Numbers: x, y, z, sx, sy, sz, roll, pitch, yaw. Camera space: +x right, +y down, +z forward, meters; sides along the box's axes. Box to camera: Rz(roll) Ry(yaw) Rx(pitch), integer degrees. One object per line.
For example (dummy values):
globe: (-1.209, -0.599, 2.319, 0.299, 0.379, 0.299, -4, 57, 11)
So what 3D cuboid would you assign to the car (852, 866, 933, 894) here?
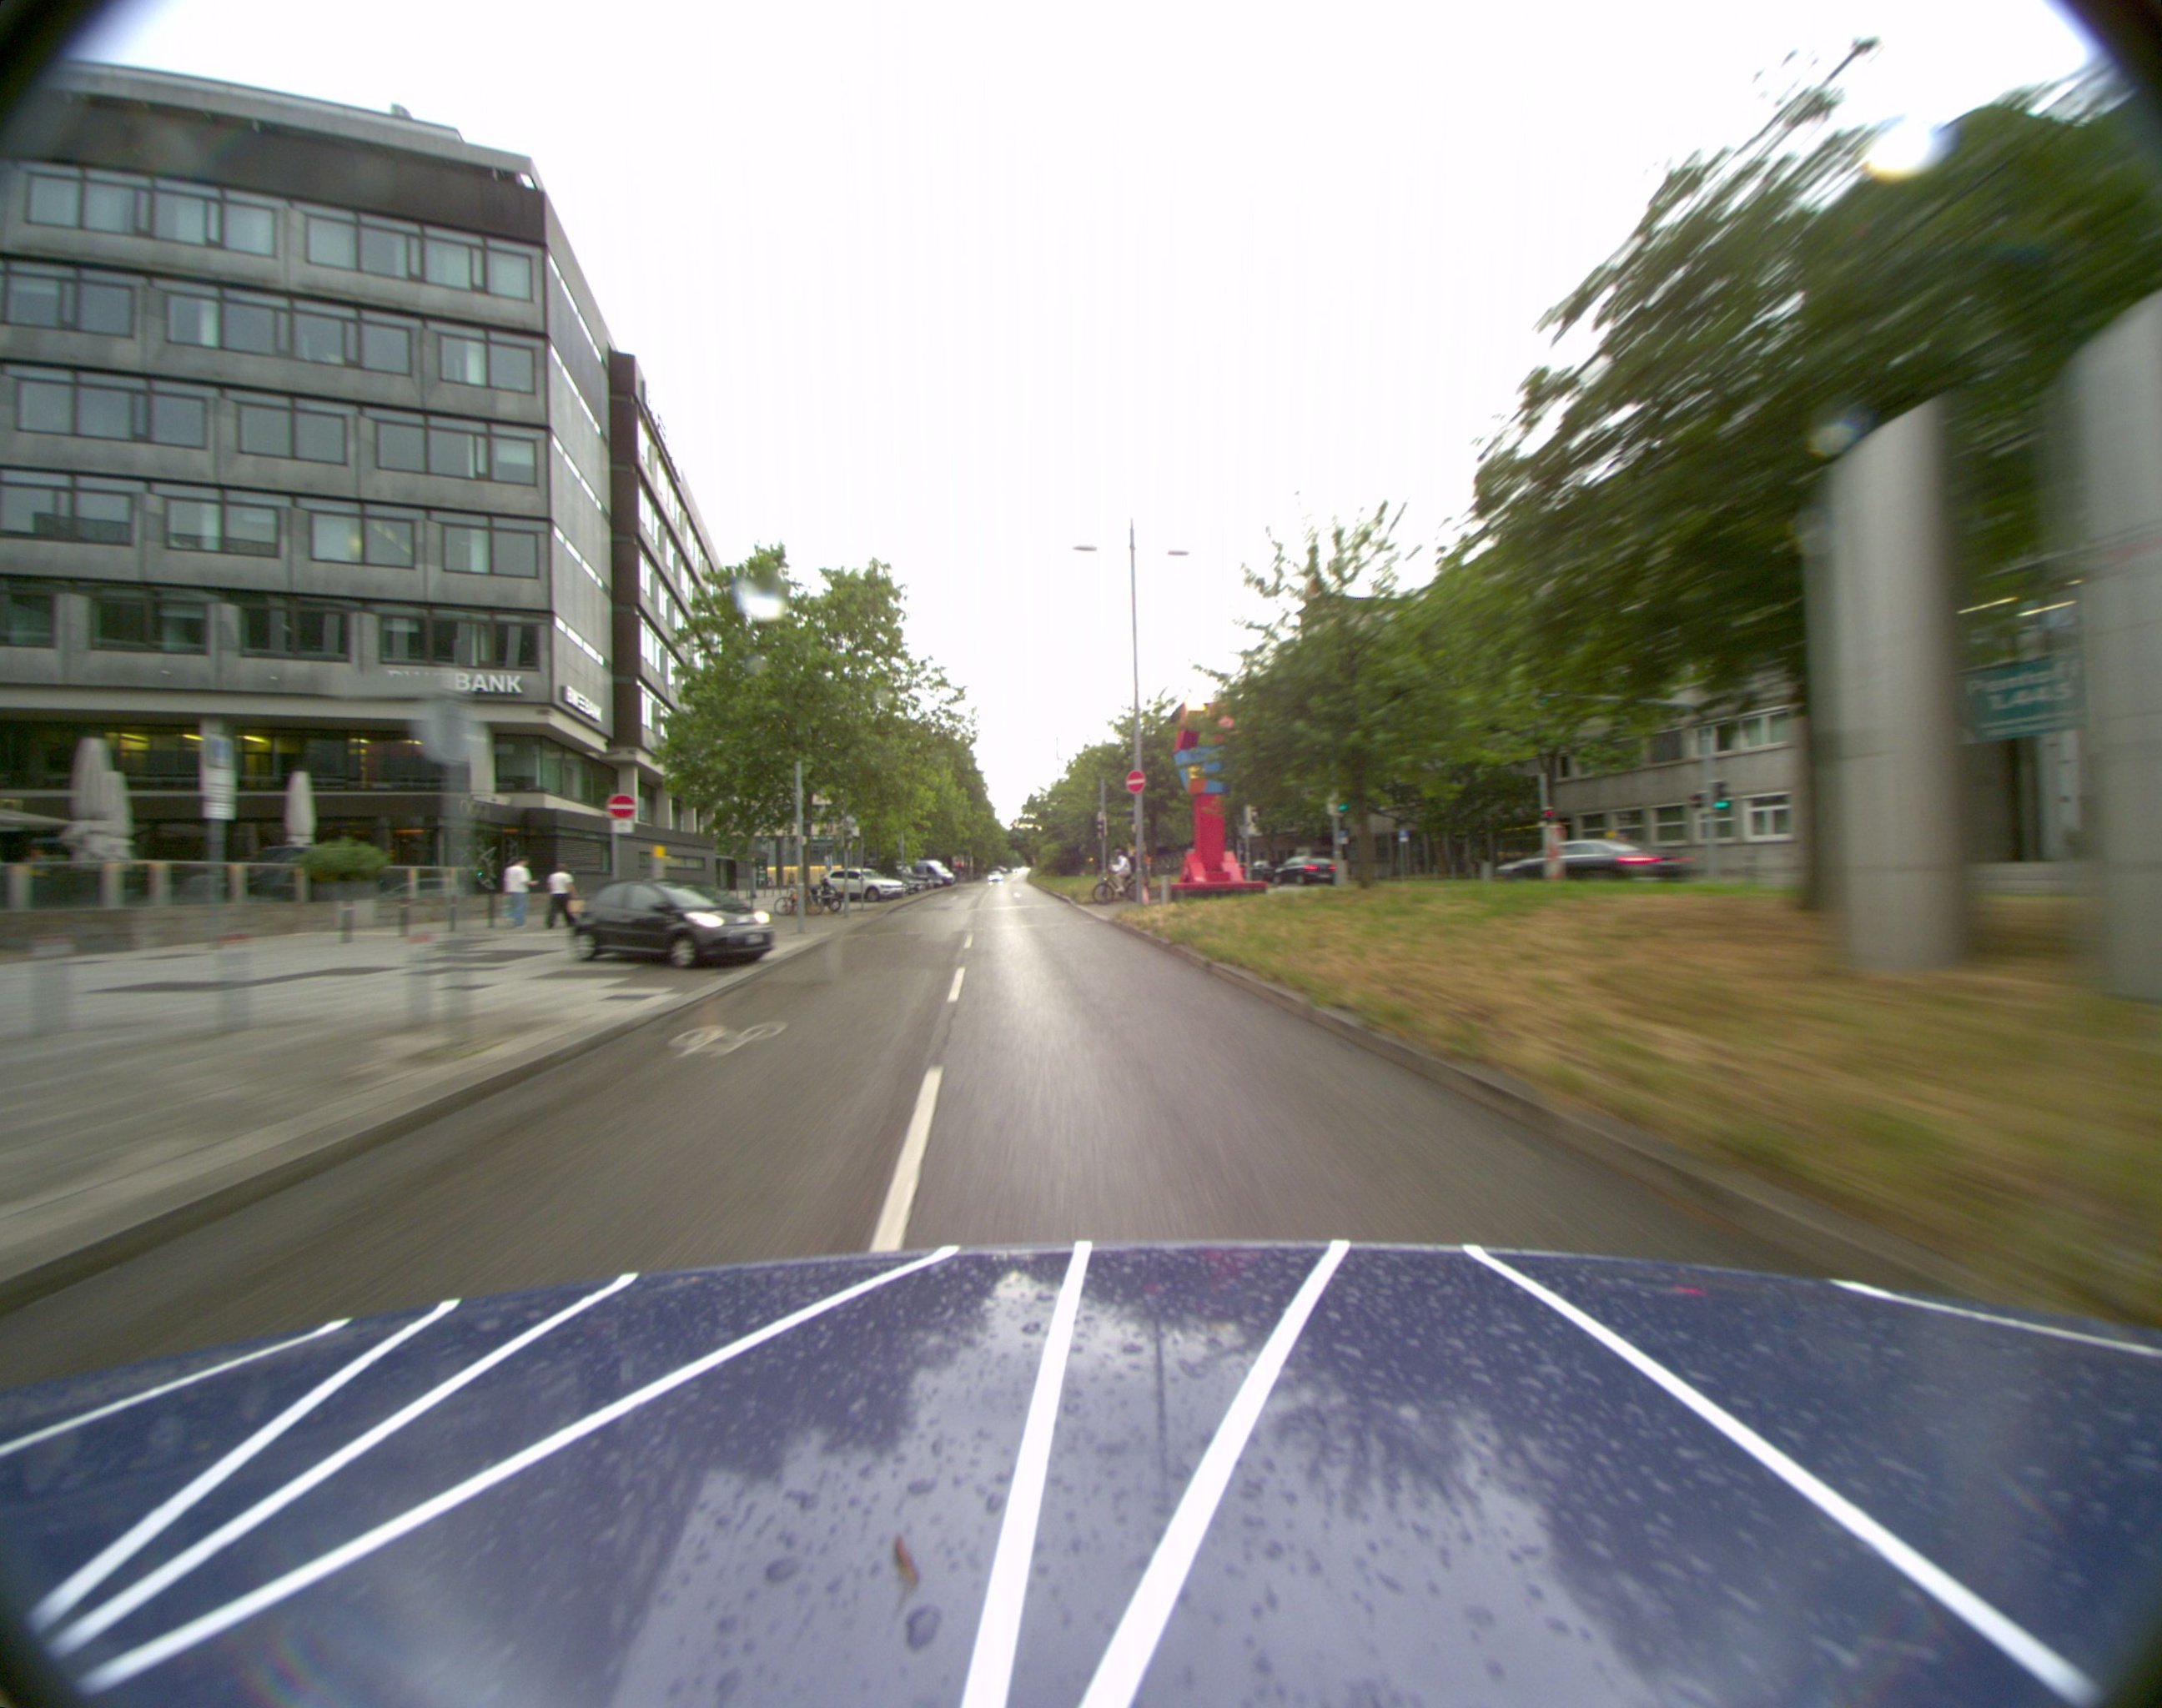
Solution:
car: (-11.443, 1.589, 46.148, 4.348, 1.528, 1.919, -2, -1, 21)

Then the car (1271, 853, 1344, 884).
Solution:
car: (10.909, 0.692, 36.891, 1.795, 1.406, 3.997, 0, -1, -9)

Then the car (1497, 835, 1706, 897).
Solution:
car: (13.405, 0.312, 19.991, 1.868, 1.421, 4.562, -1, -1, -10)

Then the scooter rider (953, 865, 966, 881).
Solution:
scooter rider: (-14.237, 2.254, 88.918, 0.979, 1.892, 1.024, -1, -1, 29)

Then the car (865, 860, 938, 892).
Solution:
car: (-12.198, 1.508, 51.698, 4.508, 1.981, 1.925, -2, -1, 23)

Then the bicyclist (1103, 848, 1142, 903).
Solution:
bicyclist: (1.381, 0.717, 25.634, 1.079, 1.739, 0.812, -5, 2, -4)

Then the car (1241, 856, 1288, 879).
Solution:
car: (13.766, 1.022, 57.281, 1.868, 1.612, 4.465, -1, -1, -8)

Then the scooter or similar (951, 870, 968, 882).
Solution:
scooter or similar: (-14.213, 2.544, 88.944, 0.979, 1.347, 1.874, -1, -1, 29)

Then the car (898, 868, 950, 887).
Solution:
car: (-13.472, 2.031, 65.103, 4.052, 1.415, 1.711, -2, -1, 23)

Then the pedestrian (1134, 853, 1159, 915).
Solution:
pedestrian: (1.796, 0.820, 20.938, 0.529, 1.675, 0.721, -2, 0, -5)

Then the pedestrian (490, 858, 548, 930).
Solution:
pedestrian: (-15.007, 1.054, 20.304, 0.803, 1.857, 0.898, -2, 0, 2)

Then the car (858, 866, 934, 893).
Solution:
car: (-11.872, 1.628, 48.902, 4.381, 1.528, 1.919, -2, -1, 21)

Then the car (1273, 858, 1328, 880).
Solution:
car: (15.015, 1.014, 52.204, 1.868, 1.421, 4.563, -1, -1, -8)

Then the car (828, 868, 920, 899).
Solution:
car: (-11.263, 1.614, 41.305, 4.712, 1.465, 1.920, -3, -1, 26)

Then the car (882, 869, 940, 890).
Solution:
car: (-12.935, 1.910, 57.749, 4.004, 1.415, 1.711, -2, -1, 23)

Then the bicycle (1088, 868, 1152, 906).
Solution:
bicycle: (1.308, 1.102, 25.626, 1.977, 1.132, 0.777, -5, 0, -5)

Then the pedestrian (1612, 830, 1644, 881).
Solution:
pedestrian: (19.533, 0.044, 27.128, 0.529, 1.777, 0.721, -2, 0, -5)

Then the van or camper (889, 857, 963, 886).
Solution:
van or camper: (-14.046, 1.576, 68.771, 6.251, 2.432, 2.319, -2, -1, 24)

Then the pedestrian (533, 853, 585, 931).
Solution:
pedestrian: (-14.026, 1.006, 20.421, 0.852, 2.026, 0.752, -2, 0, -10)

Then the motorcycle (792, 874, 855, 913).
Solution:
motorcycle: (-9.693, 1.486, 28.672, 2.088, 1.349, 0.677, -2, 0, 1)

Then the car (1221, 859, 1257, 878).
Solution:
car: (12.879, 1.180, 62.209, 1.691, 1.493, 3.690, -1, -1, -8)

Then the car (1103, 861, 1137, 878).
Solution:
car: (3.375, 1.329, 66.599, 1.796, 1.458, 4.721, 0, -1, -12)

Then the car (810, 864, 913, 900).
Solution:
car: (-11.046, 1.421, 38.170, 4.793, 1.640, 1.920, -2, -1, 24)

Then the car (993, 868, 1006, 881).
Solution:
car: (-11.930, 2.971, 111.156, 1.791, 1.736, 4.572, -1, -1, -8)

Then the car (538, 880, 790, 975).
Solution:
car: (-7.171, 1.211, 13.101, 3.826, 1.408, 1.638, -2, 0, 19)
